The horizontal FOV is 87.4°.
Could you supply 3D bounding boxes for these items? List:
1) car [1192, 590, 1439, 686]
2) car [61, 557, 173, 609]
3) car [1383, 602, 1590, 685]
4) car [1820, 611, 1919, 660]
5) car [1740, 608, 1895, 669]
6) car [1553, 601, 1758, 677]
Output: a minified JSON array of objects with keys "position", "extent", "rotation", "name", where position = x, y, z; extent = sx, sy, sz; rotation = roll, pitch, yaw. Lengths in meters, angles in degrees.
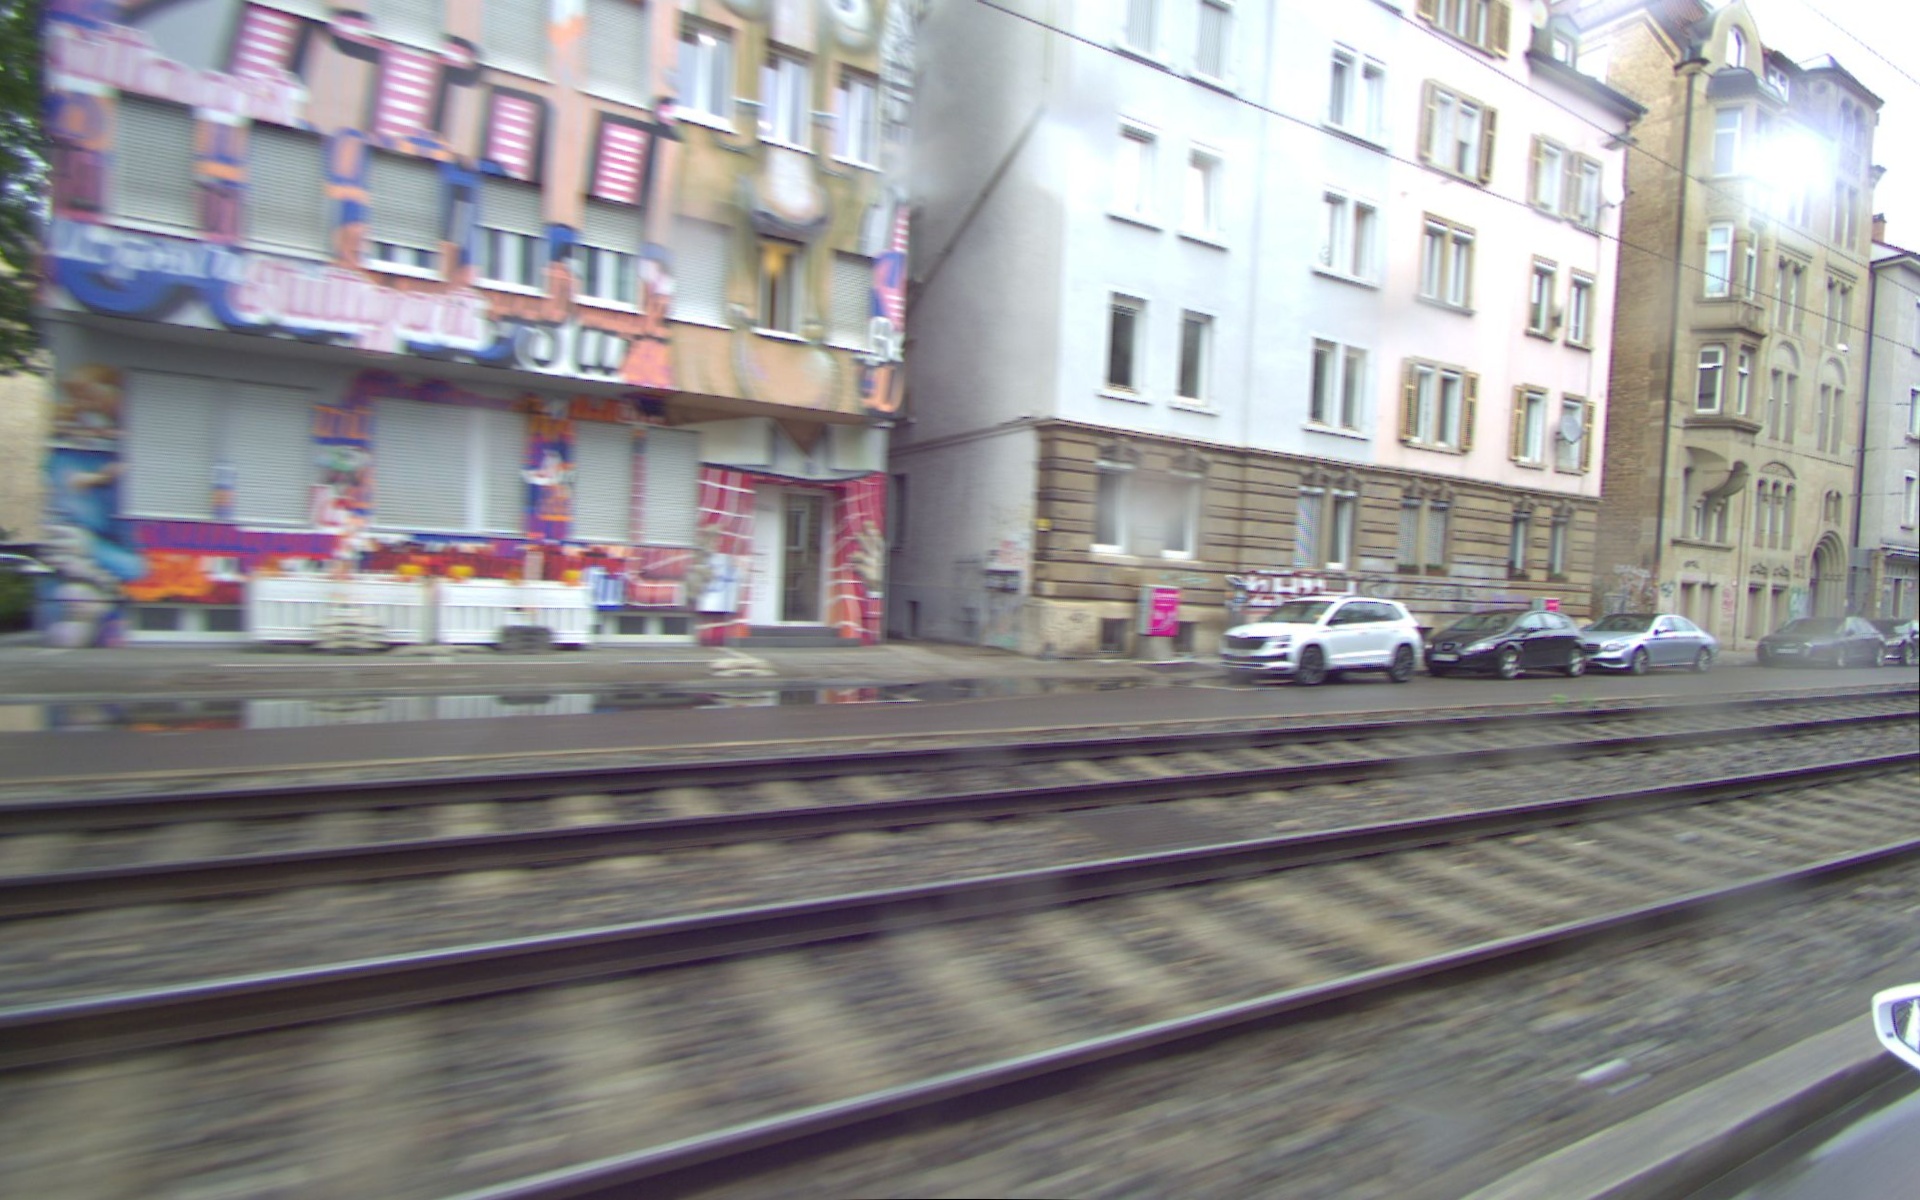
[{"position":[6.715,0.690,18.906],"extent":[4.383,1.539,1.984],"rotation":[2,2,-30],"name":"car"},{"position":[-24.309,-0.505,29.120],"extent":[1.773,1.383,3.968],"rotation":[1,1,-30],"name":"car"},{"position":[11.329,0.913,21.582],"extent":[4.159,1.539,1.984],"rotation":[2,2,-30],"name":"car"},{"position":[30.058,1.138,32.548],"extent":[4.188,1.394,1.984],"rotation":[2,2,-30],"name":"car"},{"position":[25.130,1.115,29.419],"extent":[4.621,1.539,1.984],"rotation":[2,2,-30],"name":"car"},{"position":[16.353,0.900,23.562],"extent":[4.933,1.539,1.984],"rotation":[2,2,-30],"name":"car"}]
